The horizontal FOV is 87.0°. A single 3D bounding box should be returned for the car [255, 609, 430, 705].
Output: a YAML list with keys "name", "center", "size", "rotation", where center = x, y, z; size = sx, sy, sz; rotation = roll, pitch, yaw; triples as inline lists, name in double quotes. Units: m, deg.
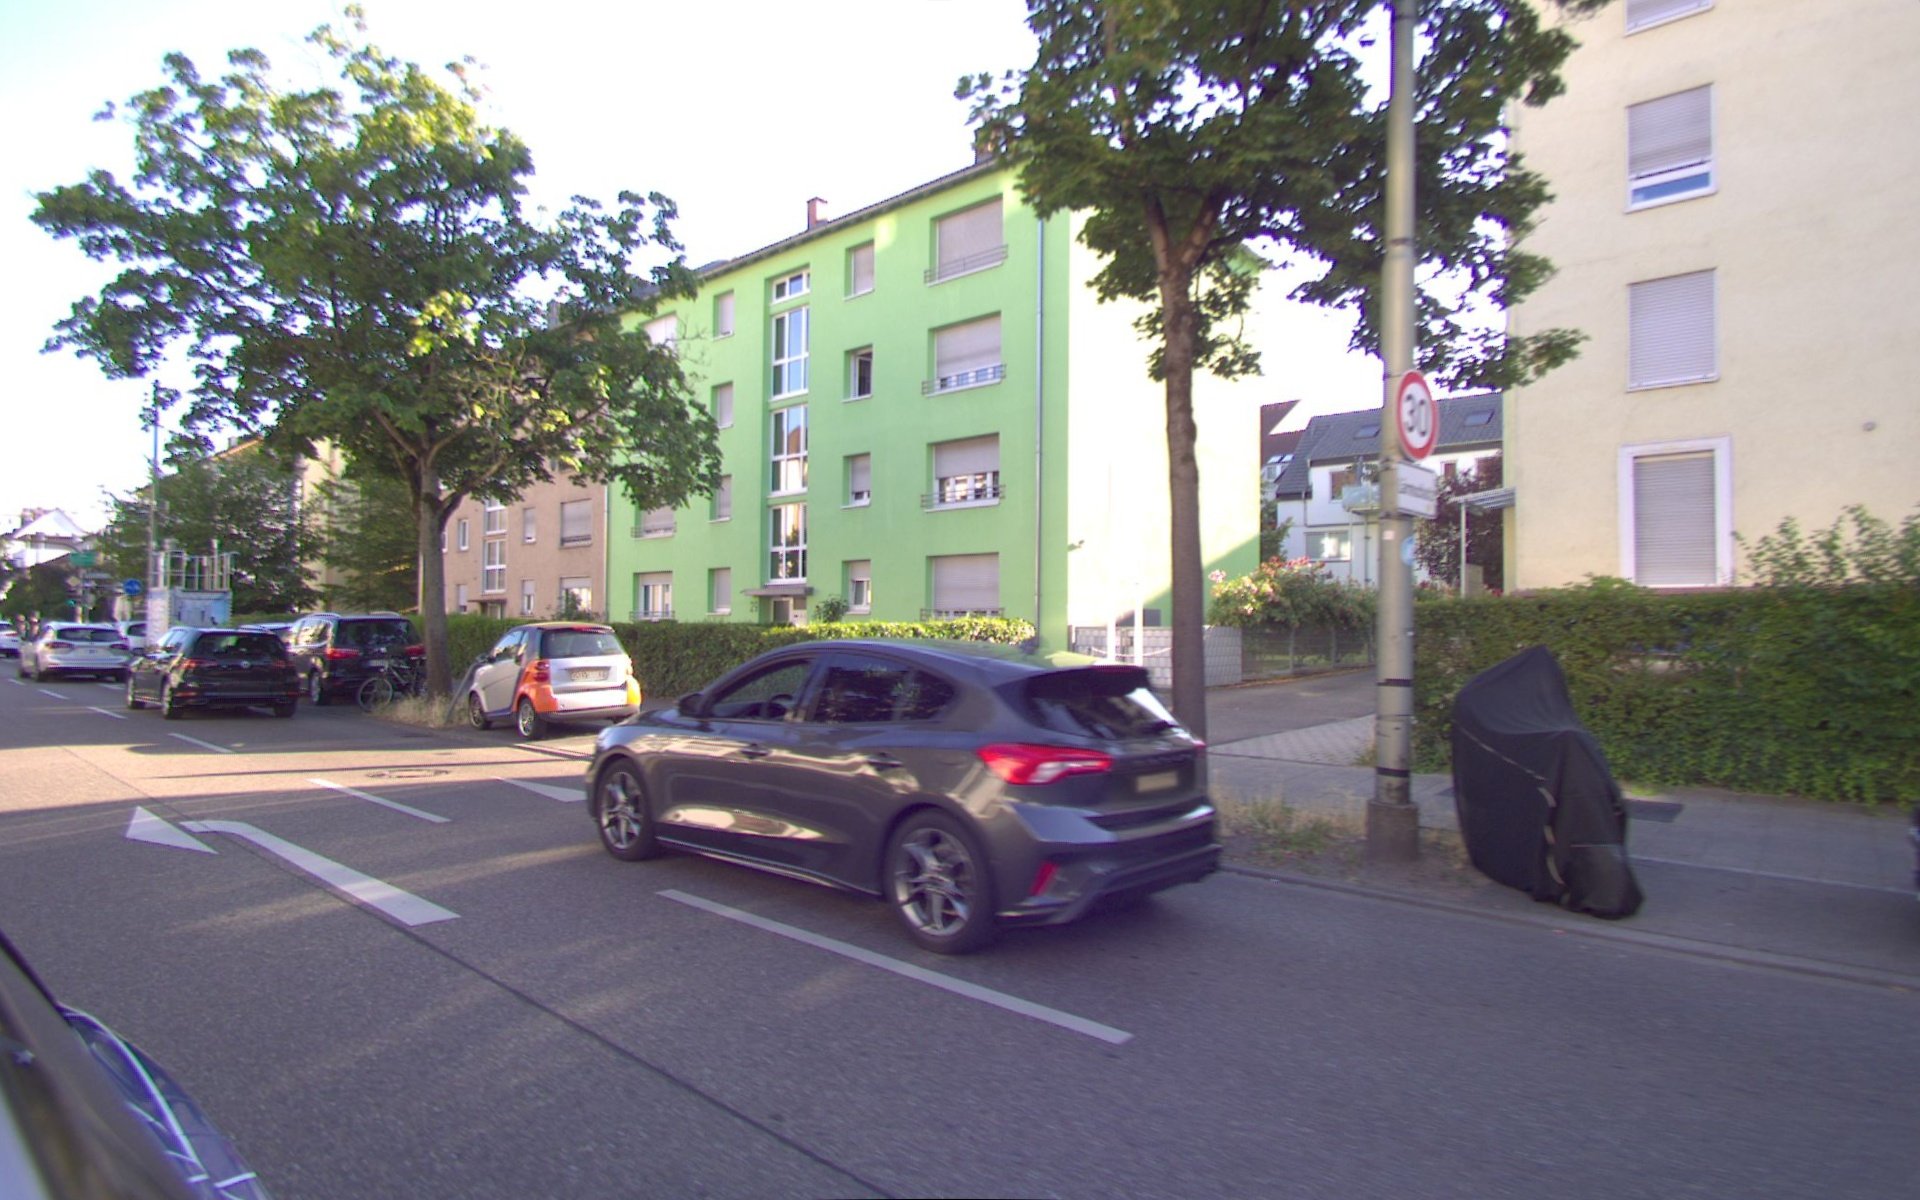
- name: "car"
  center: [-12.603, 1.081, 20.523]
  size: [4.616, 1.746, 1.765]
  rotation: [-1, -2, 42]

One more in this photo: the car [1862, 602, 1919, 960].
- name: "car"
  center: [6.264, 0.745, 3.532]
  size: [4.586, 1.516, 1.760]
  rotation: [-1, -2, 41]

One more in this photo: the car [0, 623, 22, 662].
- name: "car"
  center: [-38.233, 1.607, 39.496]
  size: [4.107, 1.457, 1.797]
  rotation: [-1, -4, 40]

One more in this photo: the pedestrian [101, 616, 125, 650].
- name: "pedestrian"
  center: [-43.264, 1.677, 51.701]
  size: [0.598, 1.641, 0.752]
  rotation: [-2, 2, -12]

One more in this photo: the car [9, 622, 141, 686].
- name: "car"
  center: [-22.567, 1.342, 25.751]
  size: [4.448, 1.482, 1.813]
  rotation: [-1, -5, 40]

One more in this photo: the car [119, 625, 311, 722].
- name: "car"
  center: [-12.457, 1.153, 16.843]
  size: [4.025, 1.414, 1.682]
  rotation: [-1, -4, 41]

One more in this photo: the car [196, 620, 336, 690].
- name: "car"
  center: [-16.499, 1.236, 23.990]
  size: [4.187, 1.533, 1.665]
  rotation: [-1, -2, 40]

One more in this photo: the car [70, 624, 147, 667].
- name: "car"
  center: [-30.976, 1.619, 36.797]
  size: [3.943, 1.490, 1.635]
  rotation: [-1, -2, 43]

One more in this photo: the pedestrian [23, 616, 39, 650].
- name: "pedestrian"
  center: [-56.454, 2.012, 61.507]
  size: [0.814, 2.029, 0.637]
  rotation: [0, 0, 42]

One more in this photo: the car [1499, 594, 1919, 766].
- name: "car"
  center: [8.721, 0.809, 11.828]
  size: [3.998, 1.695, 1.808]
  rotation: [-1, -1, 41]

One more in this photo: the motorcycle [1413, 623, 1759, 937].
- name: "motorcycle"
  center: [3.417, 0.870, 5.828]
  size: [0.979, 1.399, 2.022]
  rotation: [0, 1, 9]

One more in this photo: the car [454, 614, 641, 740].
- name: "car"
  center: [-6.003, 1.030, 14.632]
  size: [2.862, 1.629, 1.482]
  rotation: [-1, -2, 44]

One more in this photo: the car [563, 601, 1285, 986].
- name: "car"
  center: [-0.487, 0.808, 5.984]
  size: [4.292, 1.482, 1.682]
  rotation: [-1, -3, 42]

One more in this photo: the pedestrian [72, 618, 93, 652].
- name: "pedestrian"
  center: [-43.434, 1.737, 50.104]
  size: [0.749, 1.606, 0.601]
  rotation: [0, 2, 38]

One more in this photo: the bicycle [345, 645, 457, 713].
- name: "bicycle"
  center: [-9.973, 1.382, 18.105]
  size: [0.560, 1.097, 1.657]
  rotation: [-2, -1, 43]

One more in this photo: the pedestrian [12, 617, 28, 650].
- name: "pedestrian"
  center: [-57.863, 2.040, 62.311]
  size: [0.739, 2.029, 0.631]
  rotation: [-1, -2, 42]

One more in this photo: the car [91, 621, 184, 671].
- name: "car"
  center: [-27.317, 1.488, 33.584]
  size: [3.781, 1.564, 1.621]
  rotation: [-1, -2, 39]
